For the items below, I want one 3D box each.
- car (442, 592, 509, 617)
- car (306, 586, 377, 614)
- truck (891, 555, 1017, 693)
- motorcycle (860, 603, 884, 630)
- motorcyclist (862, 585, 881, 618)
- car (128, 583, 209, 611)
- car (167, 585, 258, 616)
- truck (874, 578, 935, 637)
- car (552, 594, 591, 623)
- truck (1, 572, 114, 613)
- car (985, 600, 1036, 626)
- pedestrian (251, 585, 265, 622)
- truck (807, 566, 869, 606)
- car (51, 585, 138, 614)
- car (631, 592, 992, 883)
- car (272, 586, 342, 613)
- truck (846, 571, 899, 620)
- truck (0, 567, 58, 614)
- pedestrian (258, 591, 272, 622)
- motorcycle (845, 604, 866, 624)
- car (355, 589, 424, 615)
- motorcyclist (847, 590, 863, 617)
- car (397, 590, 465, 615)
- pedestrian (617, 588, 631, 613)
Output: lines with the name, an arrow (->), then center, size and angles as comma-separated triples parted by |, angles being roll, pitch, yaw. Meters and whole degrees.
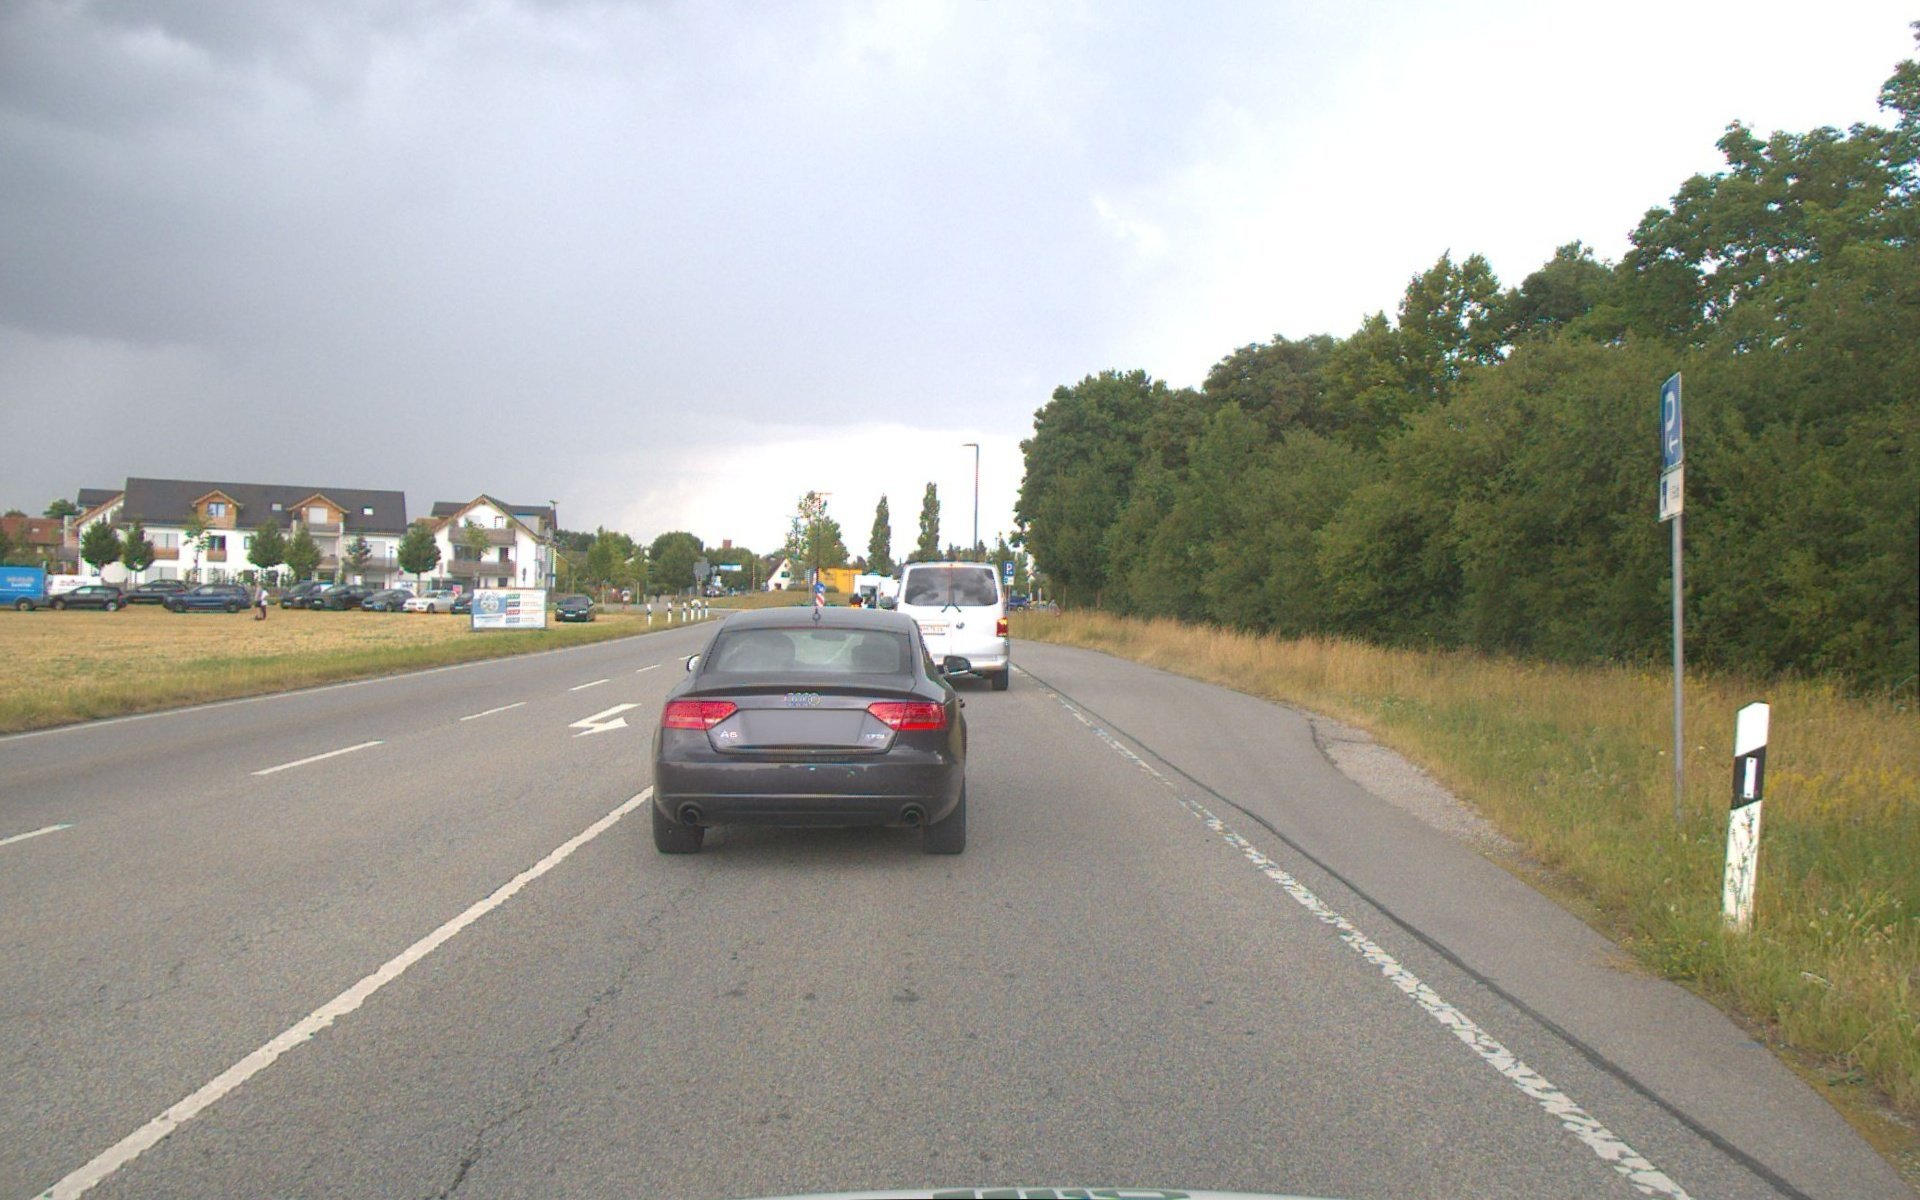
car -> -29.880, 0.290, 102.129 | 1.951, 1.471, 4.214 | 1, 0, 17
car -> -38.551, -0.009, 103.160 | 1.951, 1.657, 4.214 | 1, 0, 17
truck -> -0.134, 0.348, 27.150 | 1.865, 2.033, 4.627 | 1, 0, -1
motorcycle -> -3.847, 0.708, 72.401 | 0.901, 1.113, 2.188 | 1, 0, 0
motorcyclist -> -3.854, 0.067, 72.325 | 0.756, 1.407, 0.820 | 1, 0, 0
car -> -51.093, -0.201, 106.894 | 4.560, 1.727, 1.987 | 1, 0, -22
car -> -43.019, 0.032, 95.272 | 4.649, 1.727, 1.987 | 1, 0, -22
truck -> -2.014, 0.271, 61.248 | 2.149, 2.049, 5.083 | 1, 0, -1
car -> -21.111, 0.431, 90.003 | 1.958, 1.467, 3.988 | 1, 1, -12
truck -> -52.064, -0.432, 95.571 | 5.492, 2.235, 2.587 | 1, 0, -25
car -> 4.300, 1.128, 141.518 | 3.904, 2.049, 2.001 | 2, 0, 19
pedestrian -> -35.180, 0.164, 82.894 | 0.539, 1.817, 0.676 | 1, 0, -13
truck -> -11.869, -1.349, 159.641 | 3.523, 3.640, 9.901 | 2, 0, -19
car -> -48.553, -0.021, 92.831 | 4.097, 1.545, 1.987 | 1, 0, -22
car -> -0.824, 0.700, 10.588 | 1.837, 1.479, 4.175 | 1, 0, -2
car -> -41.578, -0.034, 105.432 | 1.951, 1.657, 4.214 | 1, 0, 17
truck -> -5.253, -0.267, 98.051 | 2.577, 2.785, 5.856 | 2, 0, -8
truck -> -51.257, -0.525, 88.073 | 5.377, 2.489, 2.376 | 1, 0, -25
pedestrian -> -35.302, 0.339, 83.985 | 0.581, 1.583, 0.622 | 1, 0, -20
motorcycle -> -5.510, 0.740, 86.952 | 0.926, 1.037, 2.280 | 1, 0, -7
car -> -35.445, 0.126, 102.790 | 1.951, 1.562, 4.214 | 1, 0, 17
motorcyclist -> -5.492, 0.179, 86.787 | 0.771, 1.380, 0.852 | 1, 0, -7
car -> -32.727, 0.152, 102.452 | 1.951, 1.471, 4.214 | 1, 0, 17
pedestrian -> -22.063, 0.024, 108.662 | 0.686, 1.613, 0.658 | 1, 0, 15
